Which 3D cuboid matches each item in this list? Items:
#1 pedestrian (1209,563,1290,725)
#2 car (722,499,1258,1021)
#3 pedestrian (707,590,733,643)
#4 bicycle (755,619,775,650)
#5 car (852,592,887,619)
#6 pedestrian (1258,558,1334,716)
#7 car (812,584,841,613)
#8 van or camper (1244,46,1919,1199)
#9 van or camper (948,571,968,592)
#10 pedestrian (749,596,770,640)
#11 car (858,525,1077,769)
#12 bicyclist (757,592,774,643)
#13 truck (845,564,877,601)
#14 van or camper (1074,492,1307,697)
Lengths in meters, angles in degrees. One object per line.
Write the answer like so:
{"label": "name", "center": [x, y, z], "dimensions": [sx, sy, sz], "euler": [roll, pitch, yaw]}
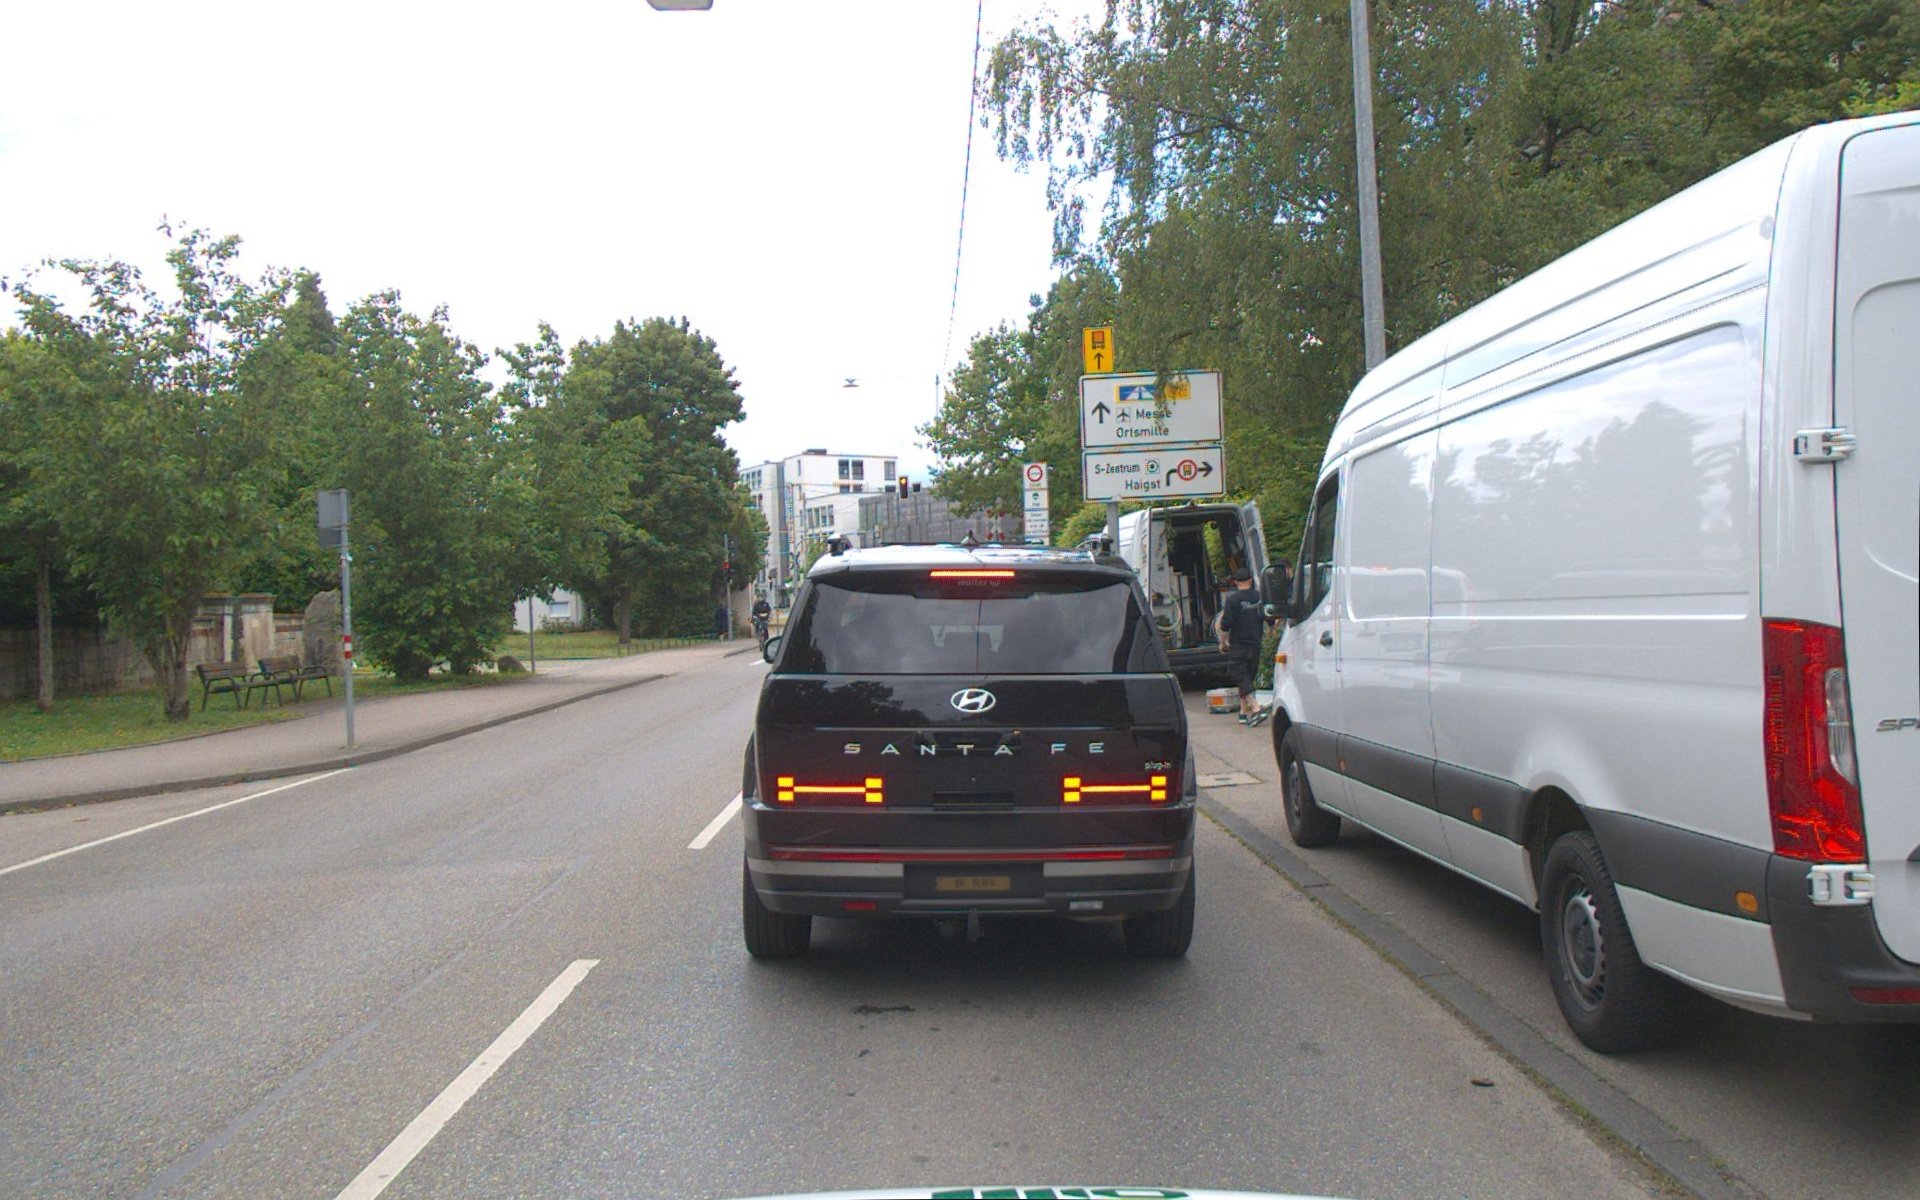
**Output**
{"label": "pedestrian", "center": [3.130, 0.470, 17.919], "dimensions": [0.721, 1.672, 0.802], "euler": [-3, -1, 5]}
{"label": "car", "center": [0.082, 0.572, 7.810], "dimensions": [1.858, 1.807, 3.993], "euler": [1, 0, -1]}
{"label": "pedestrian", "center": [-9.400, 0.654, 64.907], "dimensions": [0.812, 2.049, 1.047], "euler": [1, 0, 1]}
{"label": "bicycle", "center": [-6.521, 1.154, 55.426], "dimensions": [0.485, 0.981, 1.748], "euler": [1, 0, -1]}
{"label": "car", "center": [-5.165, 0.311, 94.428], "dimensions": [1.721, 1.427, 4.413], "euler": [-4, 0, -1]}
{"label": "pedestrian", "center": [3.826, 0.410, 18.864], "dimensions": [0.734, 1.751, 0.792], "euler": [1, -1, 4]}
{"label": "car", "center": [-11.612, -0.143, 143.978], "dimensions": [2.288, 2.356, 4.950], "euler": [-2, 0, -7]}
{"label": "van or camper", "center": [2.888, 0.034, 7.023], "dimensions": [1.951, 2.670, 6.543], "euler": [-5, 0, -1]}
{"label": "van or camper", "center": [-0.194, -1.924, 172.490], "dimensions": [1.760, 2.033, 3.820], "euler": [1, 0, -4]}
{"label": "pedestrian", "center": [-8.245, 0.747, 68.109], "dimensions": [0.751, 1.779, 0.904], "euler": [0, 0, -2]}
{"label": "car", "center": [0.037, 0.413, 16.316], "dimensions": [1.858, 2.077, 3.993], "euler": [1, 0, -1]}
{"label": "bicyclist", "center": [-6.508, 0.579, 55.446], "dimensions": [0.477, 1.713, 0.588], "euler": [1, -1, -1]}
{"label": "truck", "center": [-11.250, -1.922, 186.983], "dimensions": [3.048, 3.926, 9.607], "euler": [-2, 0, -7]}
{"label": "van or camper", "center": [3.298, -0.028, 25.304], "dimensions": [2.294, 2.537, 6.600], "euler": [-5, -1, -2]}
